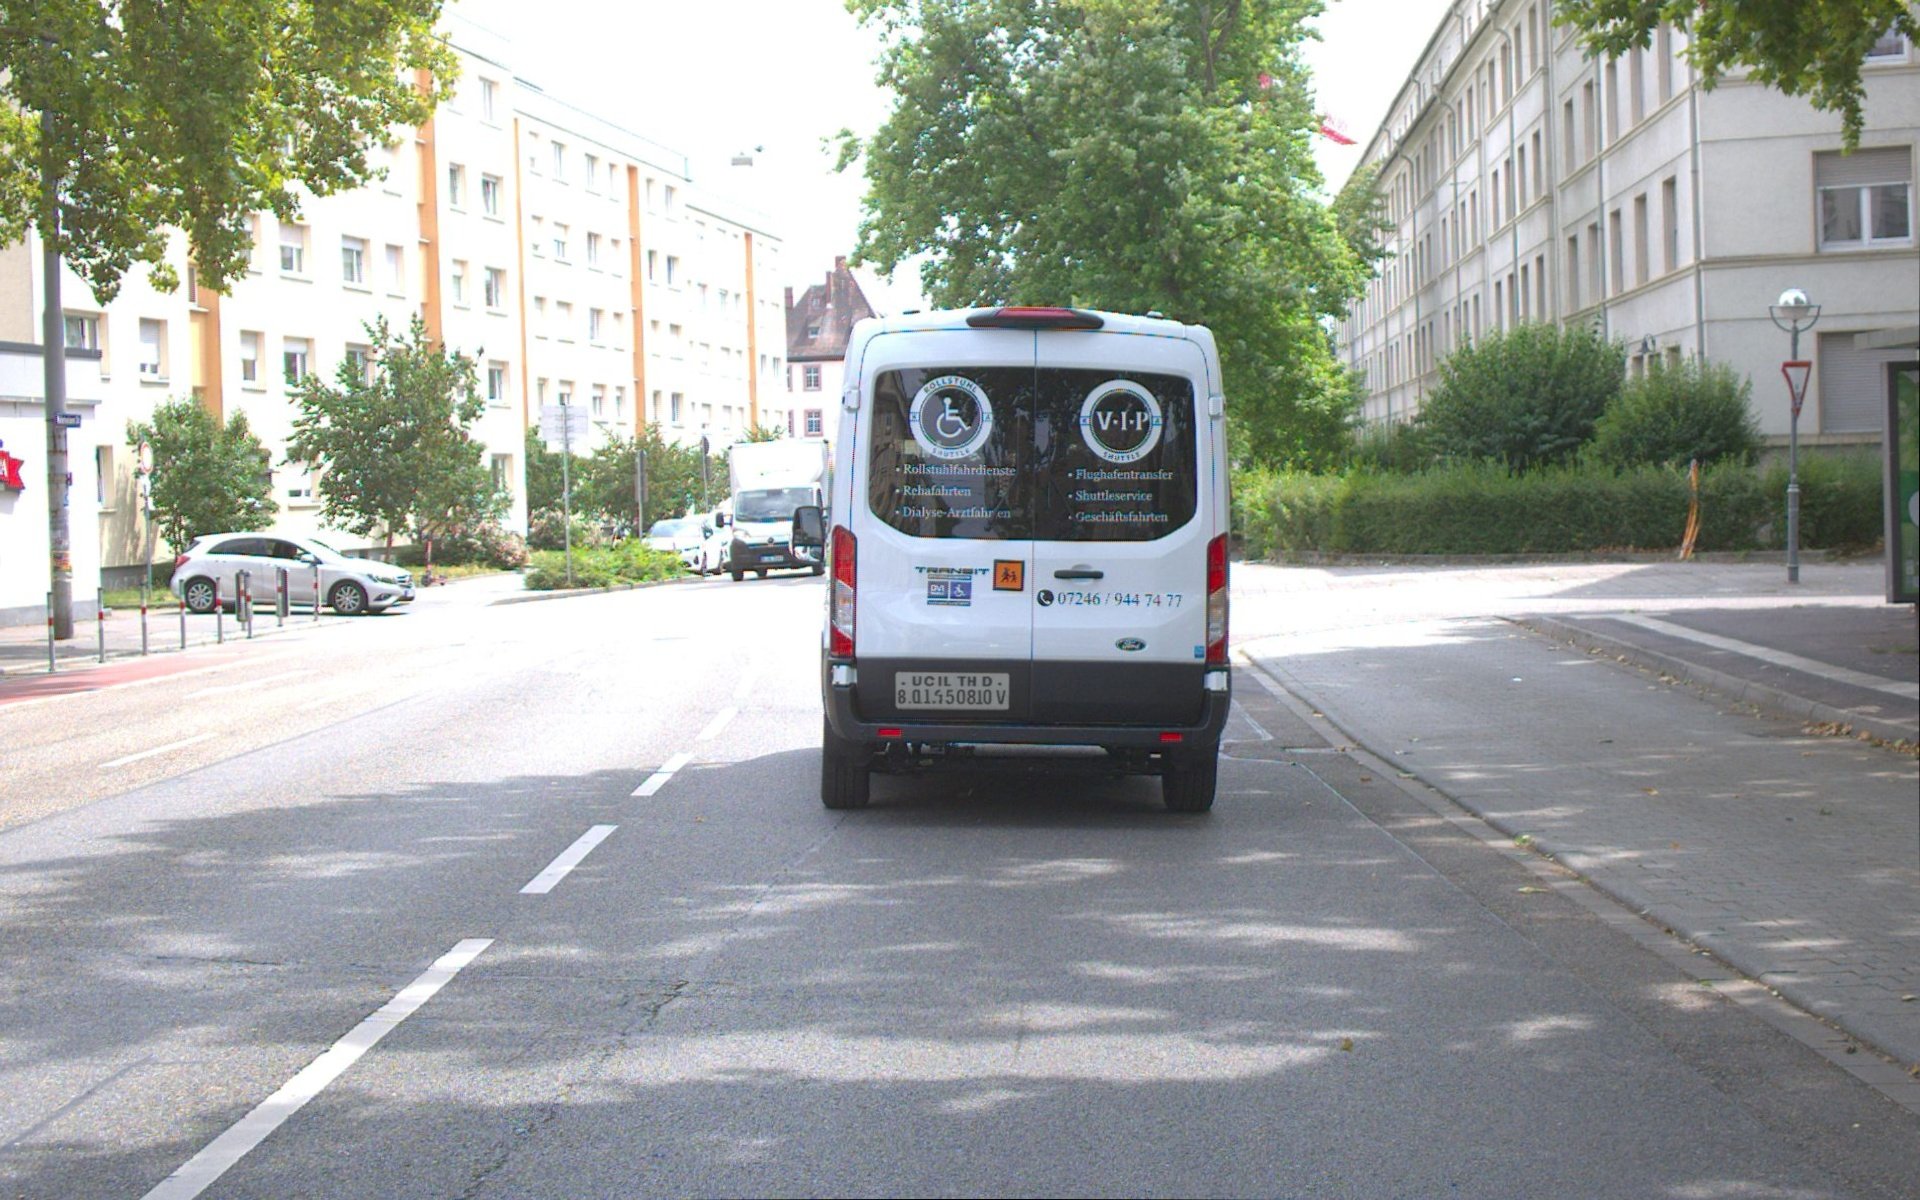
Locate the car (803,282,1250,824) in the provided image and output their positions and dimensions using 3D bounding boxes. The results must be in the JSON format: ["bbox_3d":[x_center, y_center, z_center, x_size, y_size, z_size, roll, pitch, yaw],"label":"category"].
[{"bbox_3d":[0.386,-0.313,18.622,2.070,2.531,4.635,1,2,2],"label":"car"}]

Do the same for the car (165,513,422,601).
[{"bbox_3d":[-11.928,-0.783,61.653,4.172,1.445,1.849,1,2,5],"label":"car"}]

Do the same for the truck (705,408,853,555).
[{"bbox_3d":[-4.087,-2.760,79.231,2.541,3.096,7.020,-3,2,3],"label":"truck"}]

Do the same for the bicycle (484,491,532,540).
[{"bbox_3d":[-12.219,-2.282,92.908,0.579,1.246,1.933,-1,3,14],"label":"bicycle"}]
